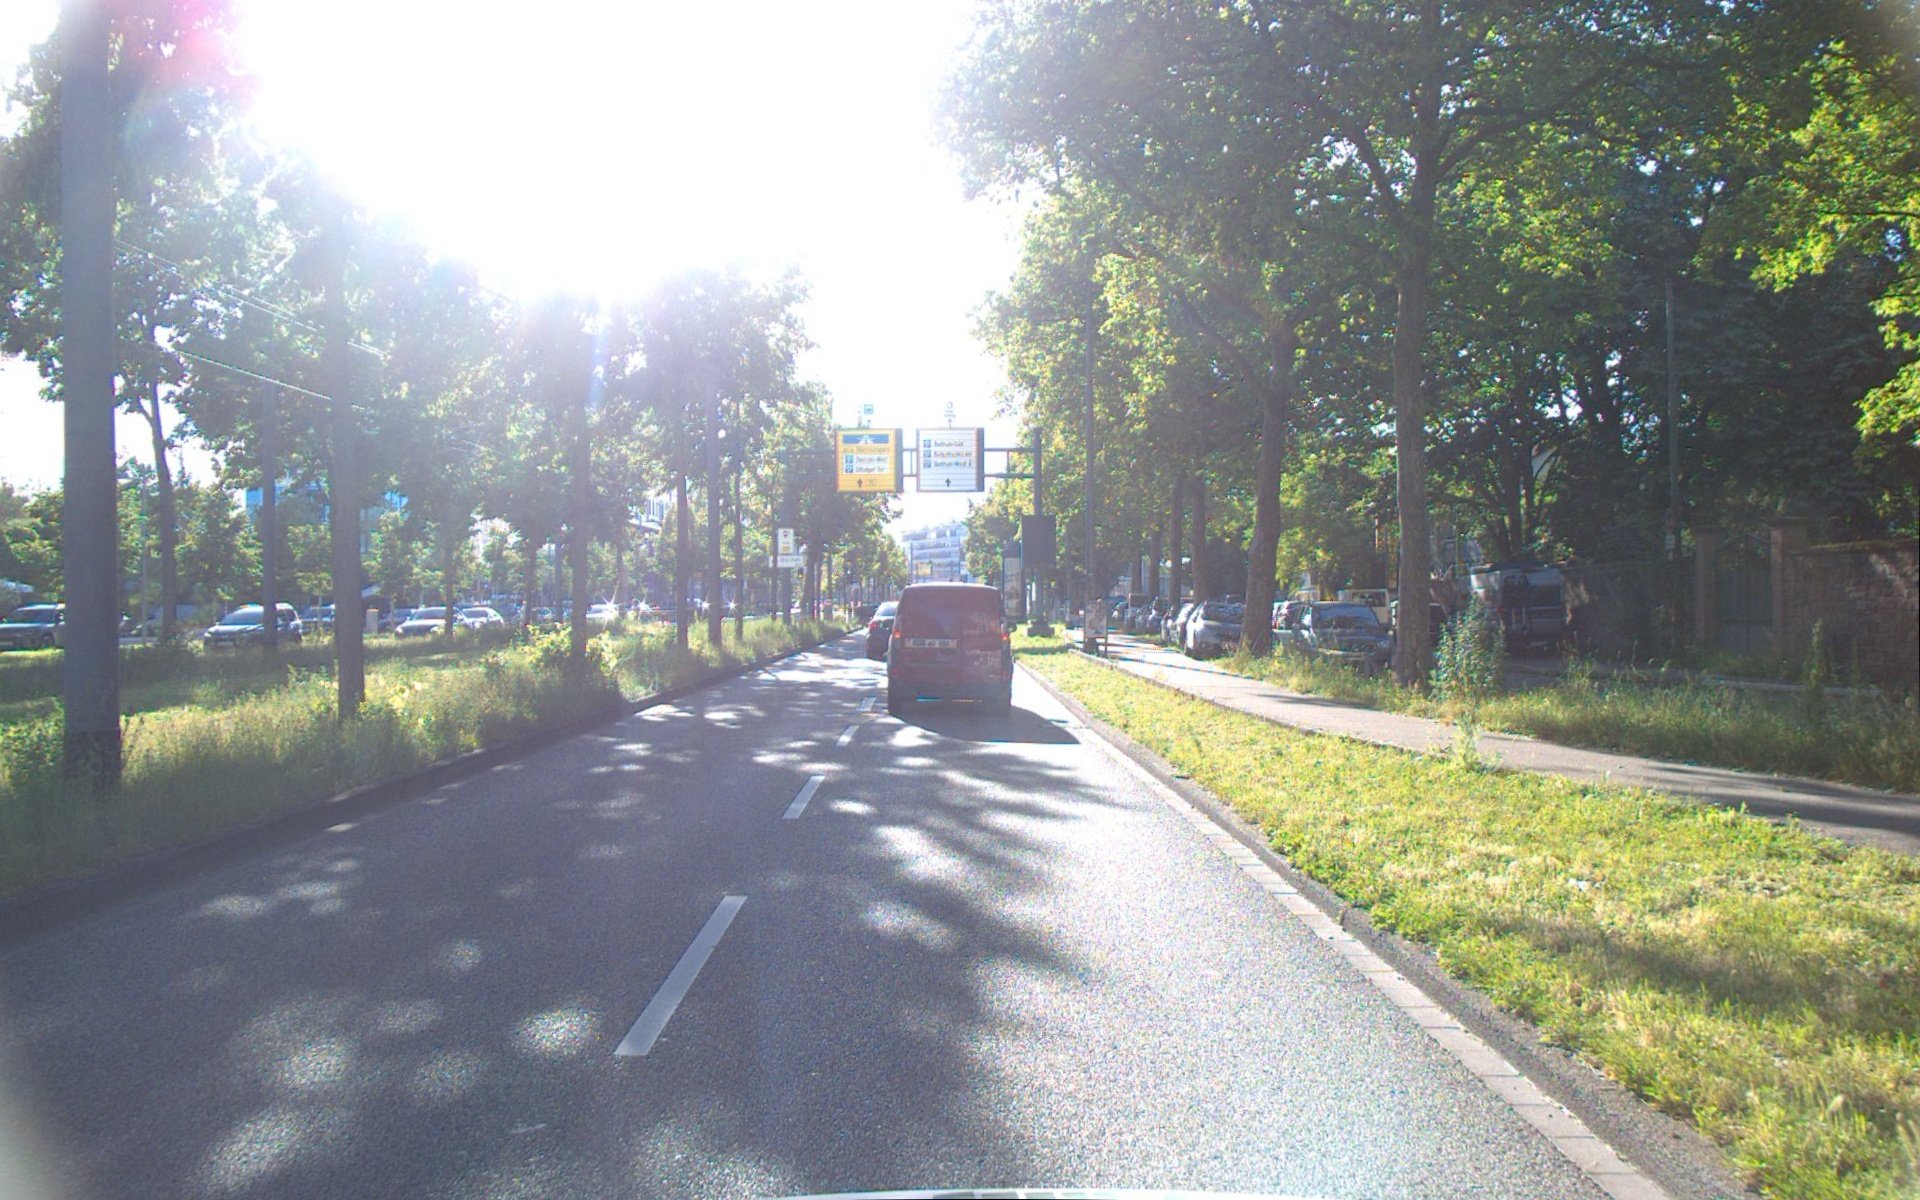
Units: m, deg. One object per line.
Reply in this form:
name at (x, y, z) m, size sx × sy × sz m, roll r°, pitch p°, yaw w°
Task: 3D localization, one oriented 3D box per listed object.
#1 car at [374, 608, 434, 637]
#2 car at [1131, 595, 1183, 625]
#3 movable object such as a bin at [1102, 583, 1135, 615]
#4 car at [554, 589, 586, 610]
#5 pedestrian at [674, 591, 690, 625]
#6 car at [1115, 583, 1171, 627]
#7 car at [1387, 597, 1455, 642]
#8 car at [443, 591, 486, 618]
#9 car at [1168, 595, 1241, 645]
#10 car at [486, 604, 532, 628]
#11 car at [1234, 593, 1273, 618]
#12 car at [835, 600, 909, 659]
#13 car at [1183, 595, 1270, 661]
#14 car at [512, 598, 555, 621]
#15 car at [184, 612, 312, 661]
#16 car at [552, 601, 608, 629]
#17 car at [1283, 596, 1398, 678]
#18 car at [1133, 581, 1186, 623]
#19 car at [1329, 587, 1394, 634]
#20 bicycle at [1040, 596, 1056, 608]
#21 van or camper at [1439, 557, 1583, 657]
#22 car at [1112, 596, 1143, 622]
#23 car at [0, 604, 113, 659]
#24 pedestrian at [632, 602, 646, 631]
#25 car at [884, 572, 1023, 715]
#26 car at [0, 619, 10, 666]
car at (-32.102, 1.283, 95.692) m, size 1.840 × 1.649 × 4.611 m, roll 1°, pitch 0°, yaw 0°
car at (9.002, 0.462, 75.778) m, size 1.952 × 1.312 × 4.053 m, roll 1°, pitch 0°, yaw 1°
movable object such as a bin at (10.537, -0.040, 110.135) m, size 2.038 × 2.049 × 2.137 m, roll 1°, pitch -1°, yaw 3°
car at (-38.803, -0.050, 164.653) m, size 1.952 × 2.049 × 4.563 m, roll 1°, pitch 0°, yaw 0°
pedestrian at (-15.345, 0.451, 91.313) m, size 0.804 × 1.868 × 0.726 m, roll 1°, pitch -1°, yaw -3°
car at (9.034, 0.269, 82.092) m, size 2.145 × 2.049 × 5.820 m, roll 1°, pitch 0°, yaw 1°
car at (16.767, 0.688, 60.248) m, size 1.654 × 1.498 × 3.760 m, roll -3°, pitch 0°, yaw 5°
car at (-39.338, 0.382, 131.517) m, size 1.952 × 2.049 × 4.563 m, roll 1°, pitch 0°, yaw 0°
car at (7.542, 0.616, 51.368) m, size 1.756 × 1.463 × 3.884 m, roll 1°, pitch 0°, yaw 1°
car at (-31.924, 1.153, 117.260) m, size 1.952 × 1.636 × 4.611 m, roll 1°, pitch 0°, yaw 0°
car at (20.069, 0.367, 113.274) m, size 1.952 × 1.668 × 4.000 m, roll 1°, pitch 0°, yaw 1°
car at (-2.295, 0.763, 44.067) m, size 1.755 × 1.453 × 3.999 m, roll 1°, pitch 0°, yaw 0°
car at (7.087, 0.738, 44.304) m, size 1.756 × 1.587 × 4.021 m, roll 3°, pitch 0°, yaw 2°
car at (-31.738, 0.708, 123.307) m, size 1.952 × 1.701 × 4.611 m, roll 1°, pitch 0°, yaw 0°
car at (-22.982, 1.157, 53.565) m, size 1.952 × 1.466 × 4.703 m, roll 1°, pitch 0°, yaw 2°
car at (-21.369, 0.846, 93.129) m, size 1.952 × 1.466 × 4.457 m, roll 1°, pitch 0°, yaw 2°
car at (8.328, 0.786, 36.551) m, size 1.755 × 1.663 × 4.629 m, roll 1°, pitch 0°, yaw 4°
car at (8.284, 0.111, 68.917) m, size 1.701 × 1.671 × 4.353 m, roll 1°, pitch 0°, yaw 1°
car at (17.852, 0.448, 73.719) m, size 2.043 × 2.049 × 4.945 m, roll 0°, pitch 0°, yaw 4°
bicycle at (9.520, 0.231, 179.349) m, size 1.742 × 1.290 × 0.479 m, roll 1°, pitch -1°, yaw 0°
van or camper at (16.544, 0.173, 50.093) m, size 2.503 × 2.731 × 6.568 m, roll -3°, pitch 0°, yaw 4°
car at (10.083, 0.540, 99.828) m, size 1.627 × 1.527 × 2.990 m, roll 1°, pitch 0°, yaw 2°
car at (-31.128, 1.046, 56.601) m, size 1.954 × 1.803 × 4.773 m, roll 1°, pitch 0°, yaw -3°
pedestrian at (-17.300, 0.889, 89.152) m, size 0.538 × 1.545 × 0.589 m, roll 1°, pitch -1°, yaw 4°
car at (-0.179, 0.591, 24.003) m, size 1.773 × 1.870 × 3.997 m, roll 1°, pitch 0°, yaw -3°
car at (-30.899, 1.300, 49.955) m, size 1.918 × 1.466 × 4.265 m, roll 1°, pitch 0°, yaw 0°
